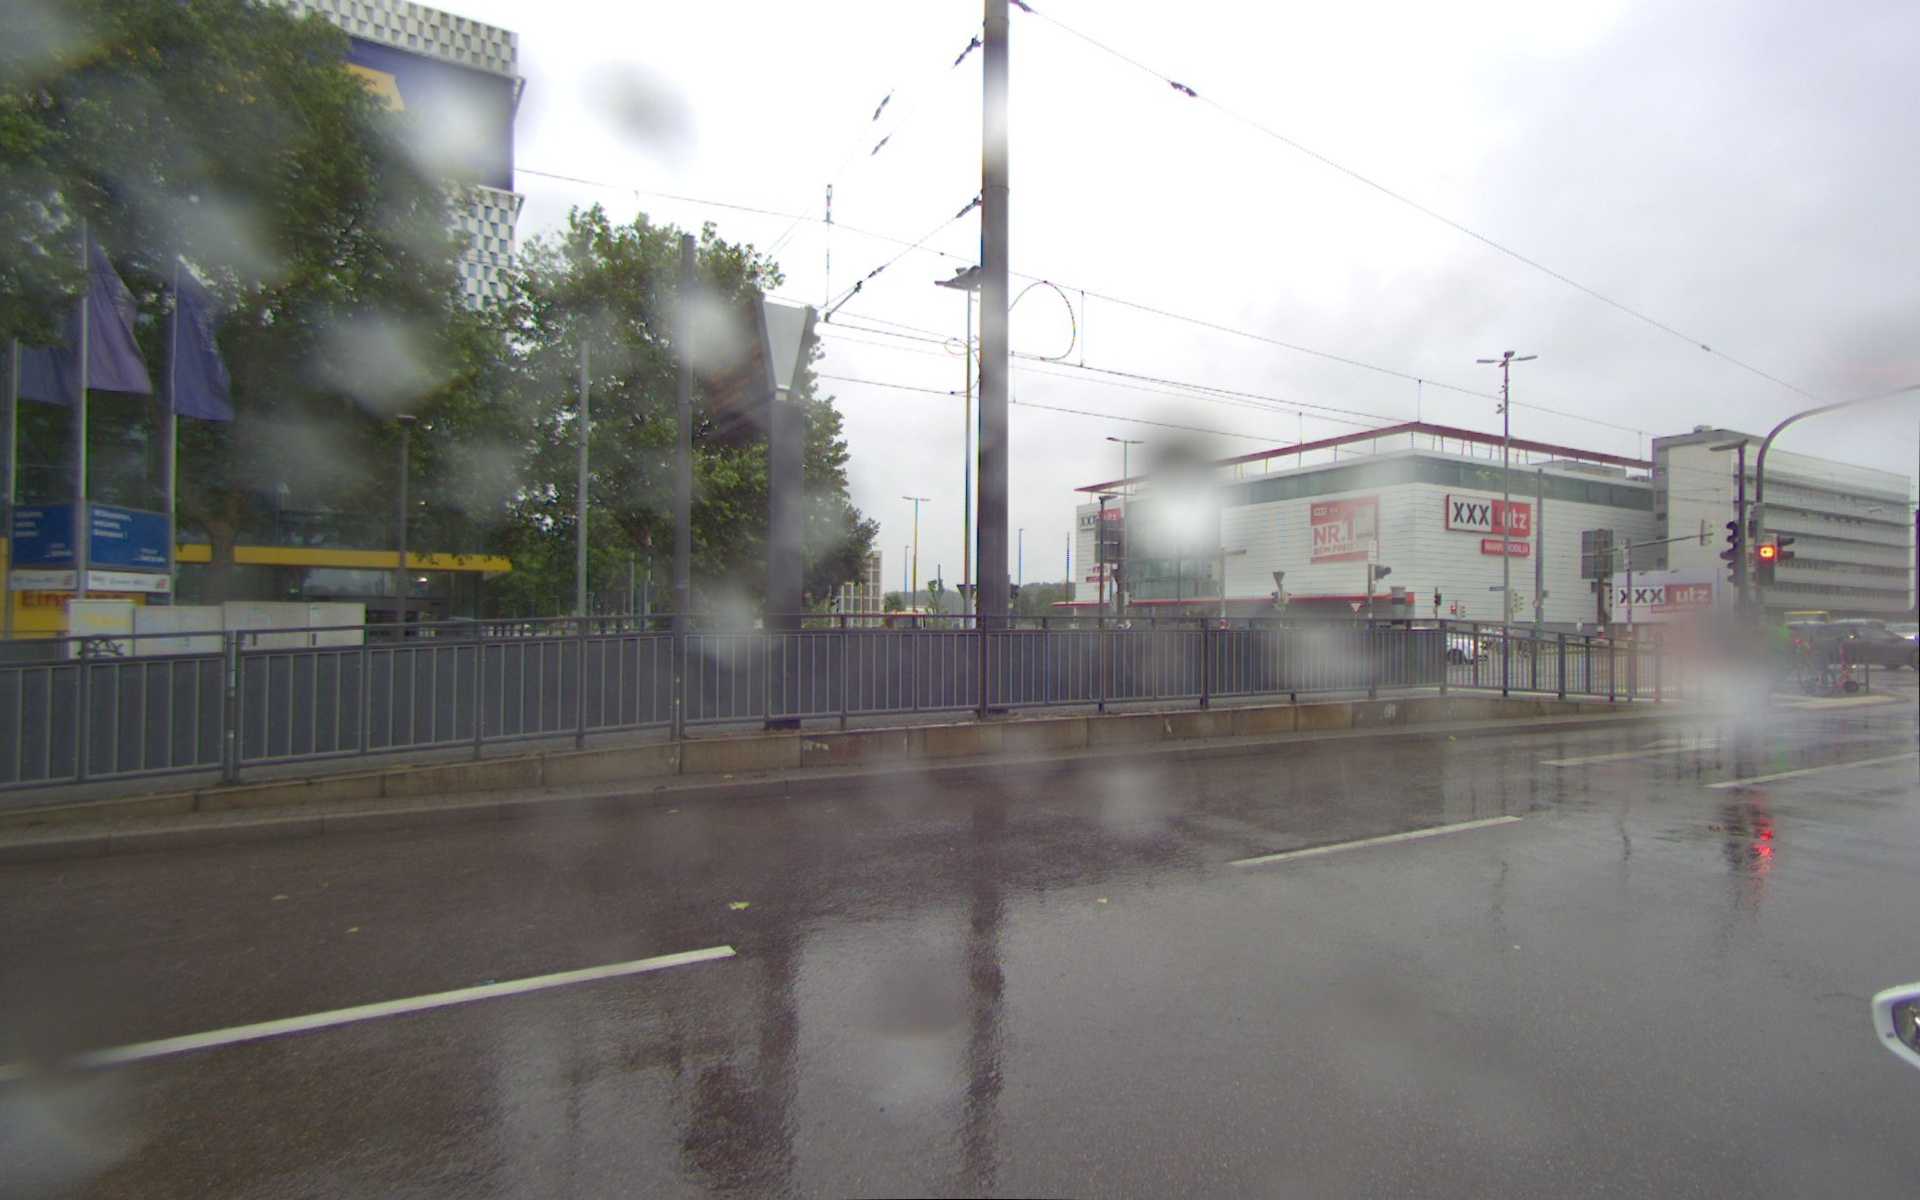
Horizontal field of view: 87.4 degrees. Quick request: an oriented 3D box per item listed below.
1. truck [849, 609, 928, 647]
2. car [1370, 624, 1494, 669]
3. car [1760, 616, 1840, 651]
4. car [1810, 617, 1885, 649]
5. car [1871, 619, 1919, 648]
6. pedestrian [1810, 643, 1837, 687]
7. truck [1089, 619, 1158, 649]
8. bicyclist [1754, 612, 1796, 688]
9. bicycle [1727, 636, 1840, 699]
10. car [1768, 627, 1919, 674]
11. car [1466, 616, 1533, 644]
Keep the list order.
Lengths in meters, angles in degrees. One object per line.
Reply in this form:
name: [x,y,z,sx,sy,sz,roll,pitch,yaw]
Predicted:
truck: [-5.131,1.919,70.434,2.445,2.240,7.329,3,1,-31]
car: [17.967,1.733,38.323,4.002,1.394,1.600,3,1,40]
car: [39.808,1.593,47.617,3.765,1.445,1.702,3,1,-30]
car: [44.787,1.673,50.671,3.765,1.445,1.702,3,1,-30]
car: [50.965,1.828,54.266,3.527,1.445,1.552,3,1,-30]
pedestrian: [18.485,1.390,21.514,0.376,0.909,0.313,1,2,-32]
truck: [12.732,2.661,78.723,1.990,1.968,5.847,3,1,-31]
bicyclist: [16.787,1.019,20.685,0.597,1.511,0.596,2,1,44]
bicycle: [16.855,1.350,20.577,1.734,1.153,0.517,2,1,44]
car: [28.084,1.583,31.900,3.468,1.223,1.440,3,1,23]
car: [29.976,1.649,55.774,3.765,1.372,1.471,3,1,-30]
